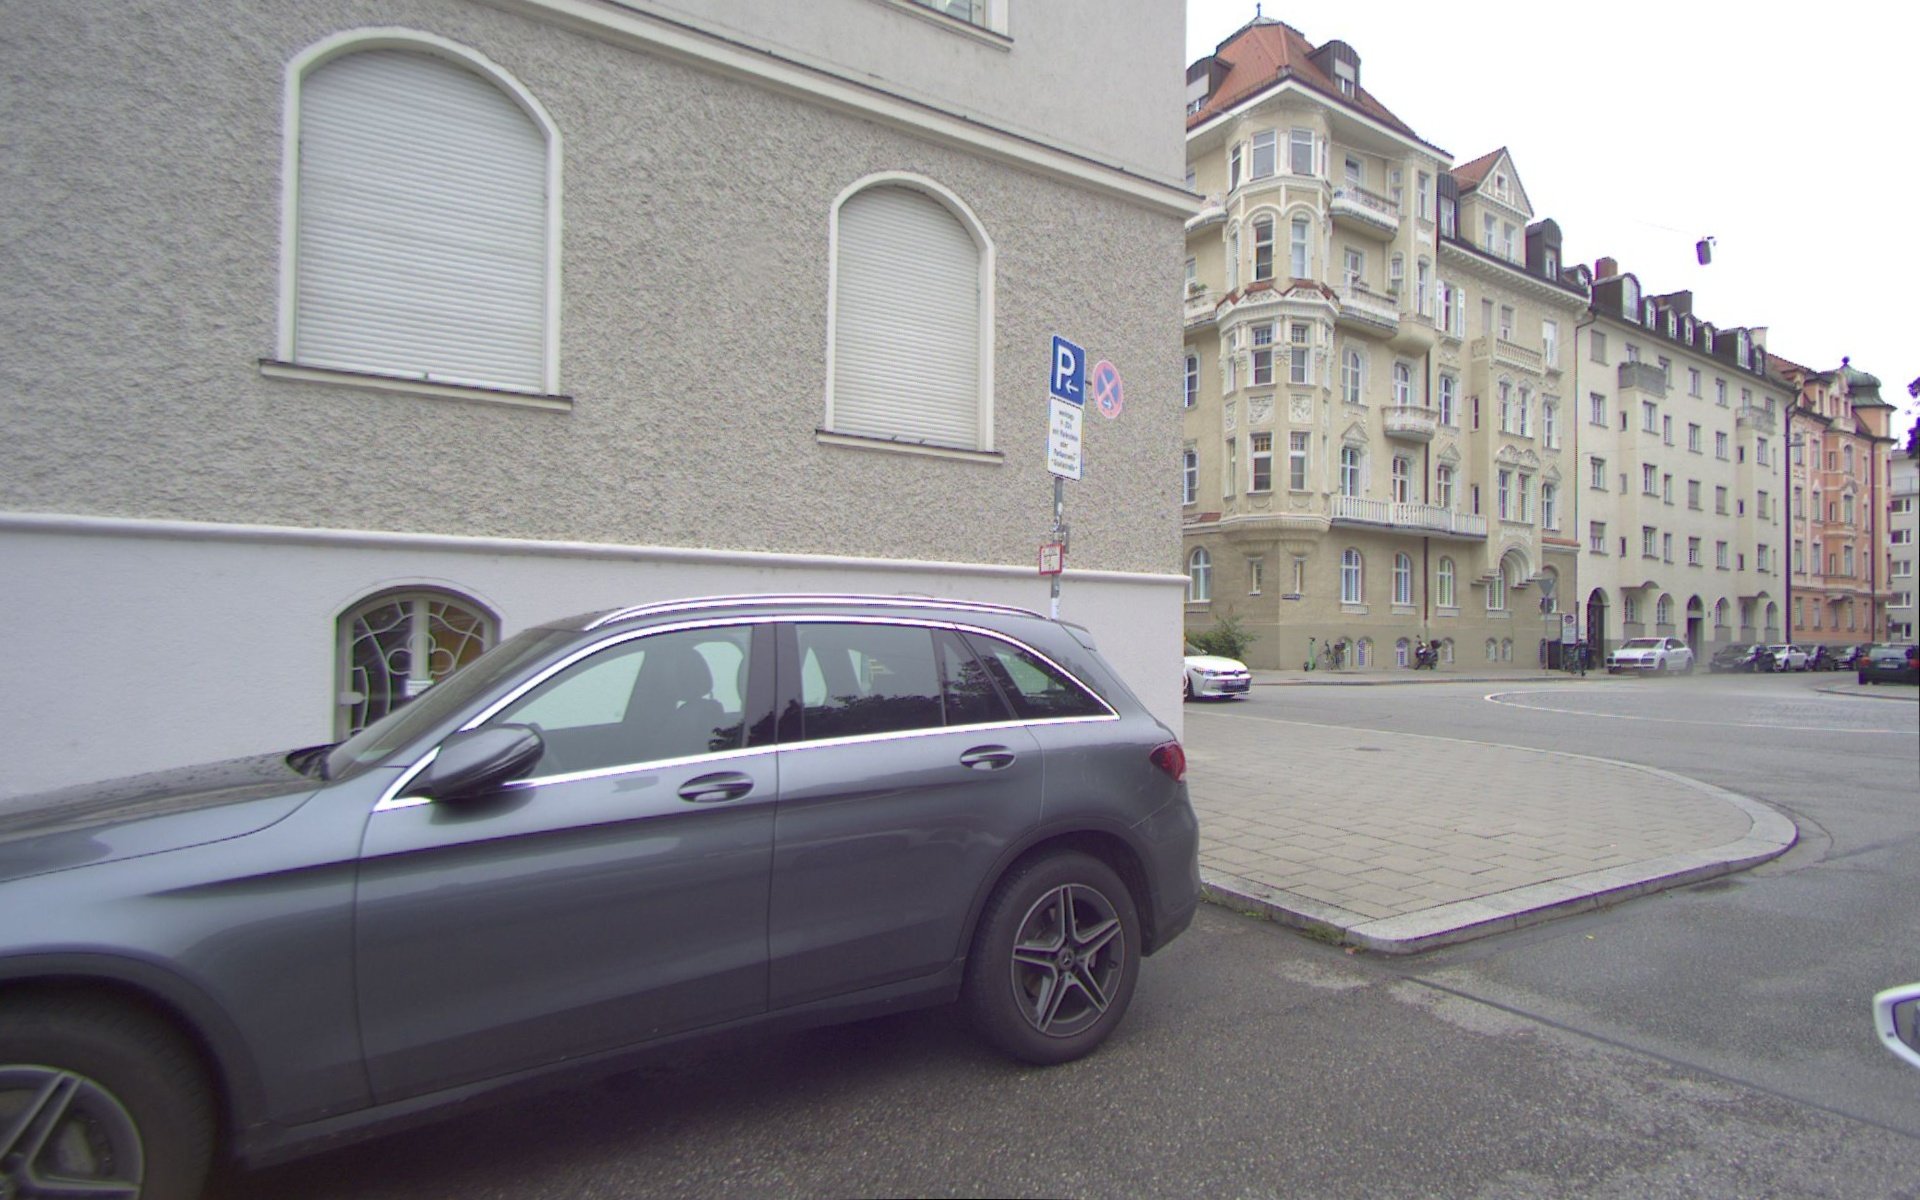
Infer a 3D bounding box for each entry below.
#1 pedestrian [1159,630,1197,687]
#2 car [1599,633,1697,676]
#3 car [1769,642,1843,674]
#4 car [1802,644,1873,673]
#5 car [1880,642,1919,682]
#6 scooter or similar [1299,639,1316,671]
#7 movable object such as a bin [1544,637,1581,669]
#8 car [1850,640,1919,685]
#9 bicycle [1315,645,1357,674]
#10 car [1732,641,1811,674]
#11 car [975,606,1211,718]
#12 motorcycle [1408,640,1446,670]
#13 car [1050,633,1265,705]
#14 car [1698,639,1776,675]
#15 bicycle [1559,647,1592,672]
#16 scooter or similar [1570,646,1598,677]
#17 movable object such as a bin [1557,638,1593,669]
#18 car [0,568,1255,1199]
[{"bbox_3d":[6.481,1.726,29.846,0.849,1.657,0.725,2,-2,-40],"label":"pedestrian"},{"bbox_3d":[29.841,2.340,43.516,4.793,1.723,1.962,2,-1,-35],"label":"car"},{"bbox_3d":[46.546,3.171,55.224,4.361,1.602,1.964,2,-1,-33],"label":"car"},{"bbox_3d":[50.665,3.354,57.962,4.360,1.602,1.964,2,-1,-33],"label":"car"},{"bbox_3d":[38.176,2.442,39.926,4.199,1.525,1.779,2,-3,-40],"label":"car"},{"bbox_3d":[12.636,1.988,36.500,0.459,1.130,1.215,1,-1,23],"label":"scooter or similar"},{"bbox_3d":[28.122,2.480,46.908,1.161,1.444,1.085,2,-2,-32],"label":"movable object such as a bin"},{"bbox_3d":[34.125,2.253,36.639,4.385,1.525,1.804,2,-3,-40],"label":"car"},{"bbox_3d":[14.165,2.218,37.855,1.812,1.063,0.559,2,-2,-35],"label":"bicycle"},{"bbox_3d":[42.318,2.979,52.351,4.361,1.602,1.964,2,-1,-33],"label":"car"},{"bbox_3d":[2.433,1.119,19.699,1.905,1.905,4.866,2,-2,-33],"label":"car"},{"bbox_3d":[19.112,2.240,41.118,1.812,1.191,0.594,2,-2,-35],"label":"motorcycle"},{"bbox_3d":[4.603,1.575,23.977,1.878,1.467,4.827,2,-2,-44],"label":"car"},{"bbox_3d":[38.374,2.781,49.557,4.671,1.637,1.961,2,-2,-38],"label":"car"},{"bbox_3d":[26.843,2.569,43.811,1.812,1.063,0.559,2,-2,-35],"label":"bicycle"},{"bbox_3d":[25.399,2.485,40.882,0.458,1.209,1.216,1,-1,5],"label":"scooter or similar"},{"bbox_3d":[29.116,2.516,47.552,1.161,1.444,1.085,2,-2,-32],"label":"movable object such as a bin"},{"bbox_3d":[-1.157,0.825,3.569,4.447,1.623,1.738,2,-3,-32],"label":"car"}]
